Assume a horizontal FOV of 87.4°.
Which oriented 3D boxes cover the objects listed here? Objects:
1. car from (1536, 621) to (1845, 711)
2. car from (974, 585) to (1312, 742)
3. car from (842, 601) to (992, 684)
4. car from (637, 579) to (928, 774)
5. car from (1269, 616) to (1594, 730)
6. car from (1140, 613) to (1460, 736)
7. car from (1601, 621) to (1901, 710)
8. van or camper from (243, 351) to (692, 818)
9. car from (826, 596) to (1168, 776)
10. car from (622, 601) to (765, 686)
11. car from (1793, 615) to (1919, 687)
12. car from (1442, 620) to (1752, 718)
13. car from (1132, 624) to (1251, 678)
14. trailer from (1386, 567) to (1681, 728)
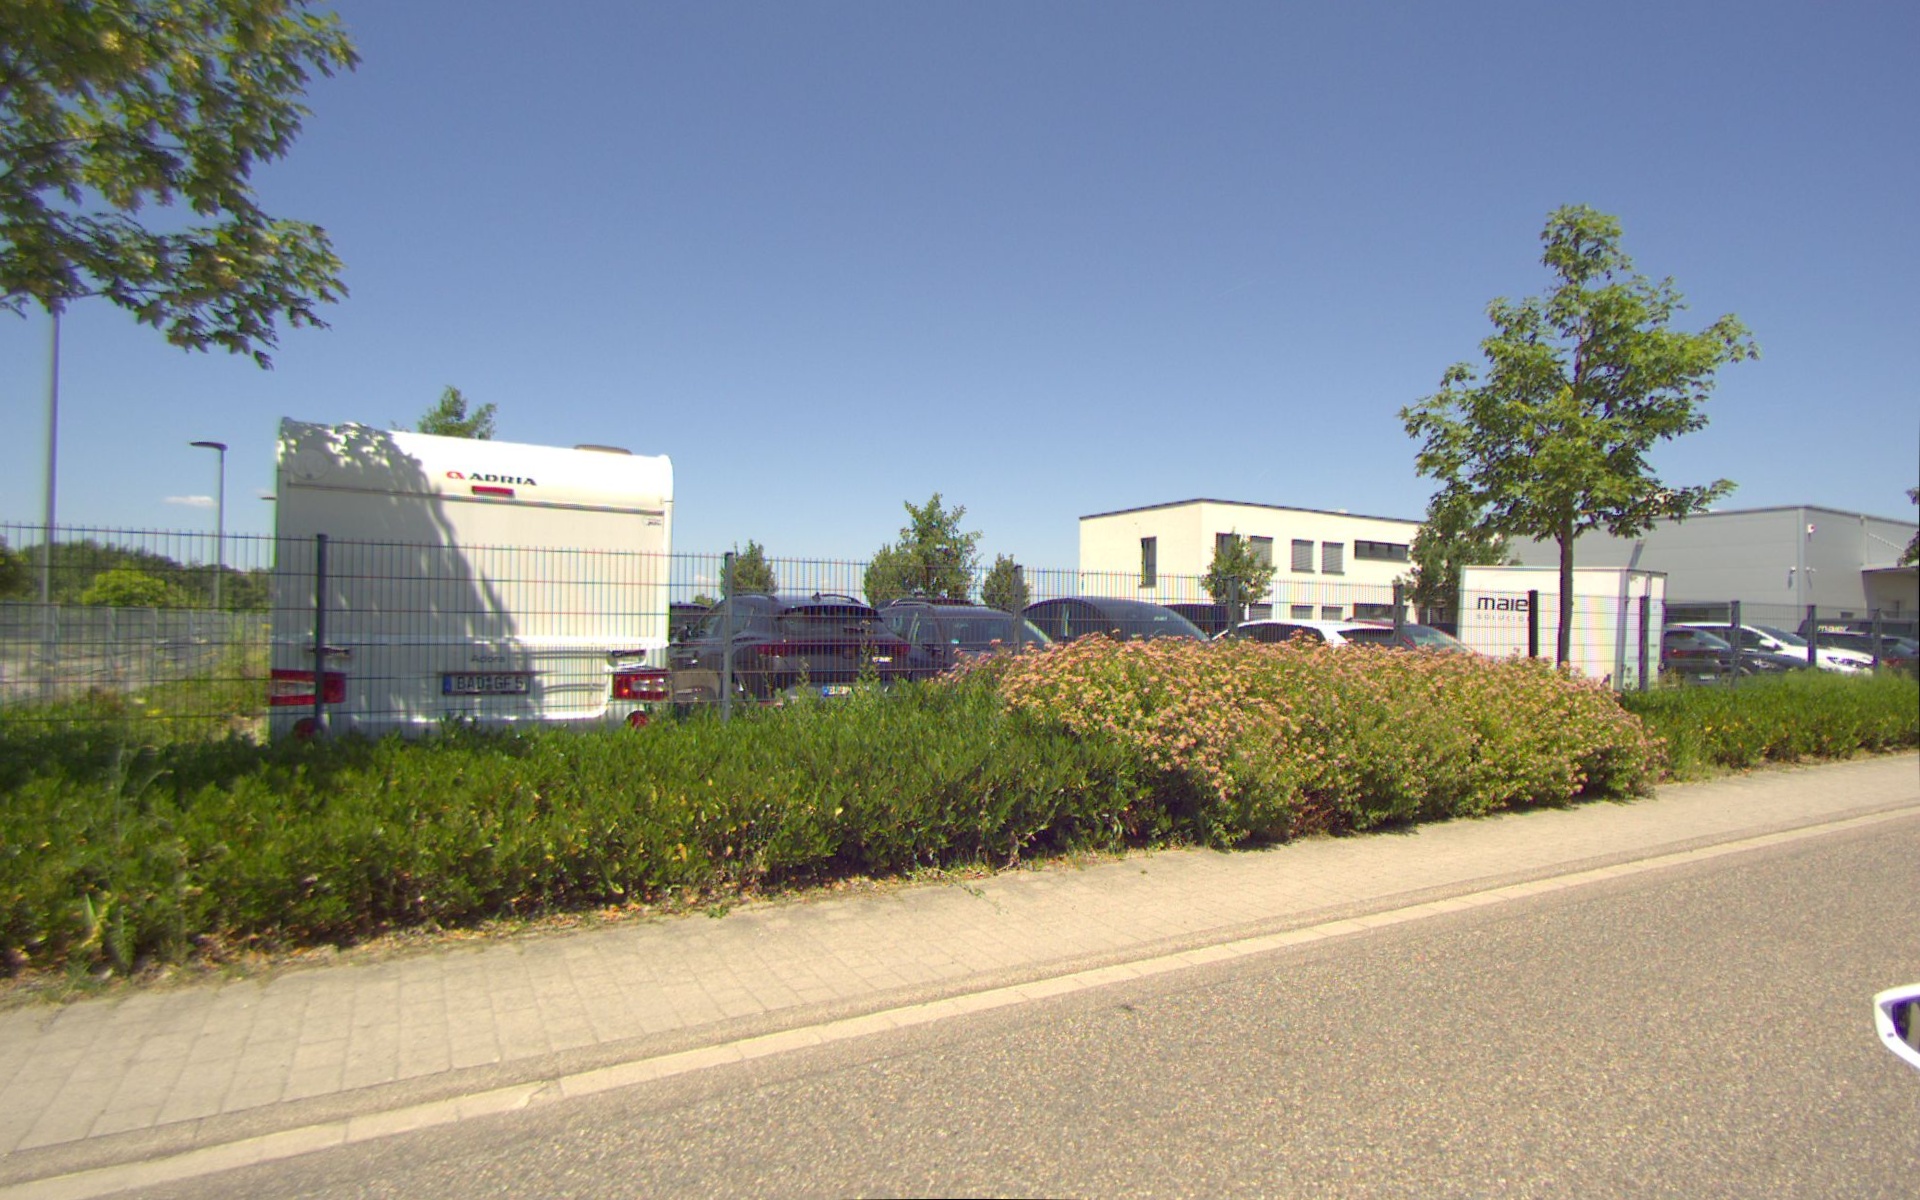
[{"bbox_3d":[14.600,1.238,20.414,1.975,1.556,4.713,1,-1,-28],"label":"car"},{"bbox_3d":[2.174,0.729,13.203,1.759,1.688,4.481,2,-1,-34],"label":"car"},{"bbox_3d":[-1.113,0.957,23.879,1.977,1.795,3.968,1,-1,-30],"label":"car"},{"bbox_3d":[-2.176,0.704,11.083,1.756,1.688,4.488,1,-1,-30],"label":"car"},{"bbox_3d":[7.068,1.011,15.510,1.977,1.471,4.185,1,-1,-31],"label":"car"},{"bbox_3d":[4.631,0.939,14.306,1.757,1.471,4.184,1,-1,-32],"label":"car"},{"bbox_3d":[16.783,1.307,21.609,1.975,1.650,4.713,1,-1,-28],"label":"car"},{"bbox_3d":[-4.599,0.003,9.440,2.543,2.719,6.749,1,-2,-28],"label":"van or camper"},{"bbox_3d":[0.198,0.848,11.819,1.758,1.688,4.482,1,-1,-33],"label":"car"},{"bbox_3d":[-5.736,0.874,21.288,1.977,1.617,3.968,1,-1,-30],"label":"car"},{"bbox_3d":[26.068,1.378,27.217,1.941,1.875,5.037,2,-1,-29],"label":"car"},{"bbox_3d":[11.654,1.177,18.747,1.975,1.556,4.529,1,-1,-28],"label":"car"},{"bbox_3d":[6.160,1.344,26.977,1.476,1.311,2.997,2,-1,-29],"label":"car"},{"bbox_3d":[9.510,0.695,16.978,1.707,2.391,3.965,2,0,-31],"label":"trailer"}]
